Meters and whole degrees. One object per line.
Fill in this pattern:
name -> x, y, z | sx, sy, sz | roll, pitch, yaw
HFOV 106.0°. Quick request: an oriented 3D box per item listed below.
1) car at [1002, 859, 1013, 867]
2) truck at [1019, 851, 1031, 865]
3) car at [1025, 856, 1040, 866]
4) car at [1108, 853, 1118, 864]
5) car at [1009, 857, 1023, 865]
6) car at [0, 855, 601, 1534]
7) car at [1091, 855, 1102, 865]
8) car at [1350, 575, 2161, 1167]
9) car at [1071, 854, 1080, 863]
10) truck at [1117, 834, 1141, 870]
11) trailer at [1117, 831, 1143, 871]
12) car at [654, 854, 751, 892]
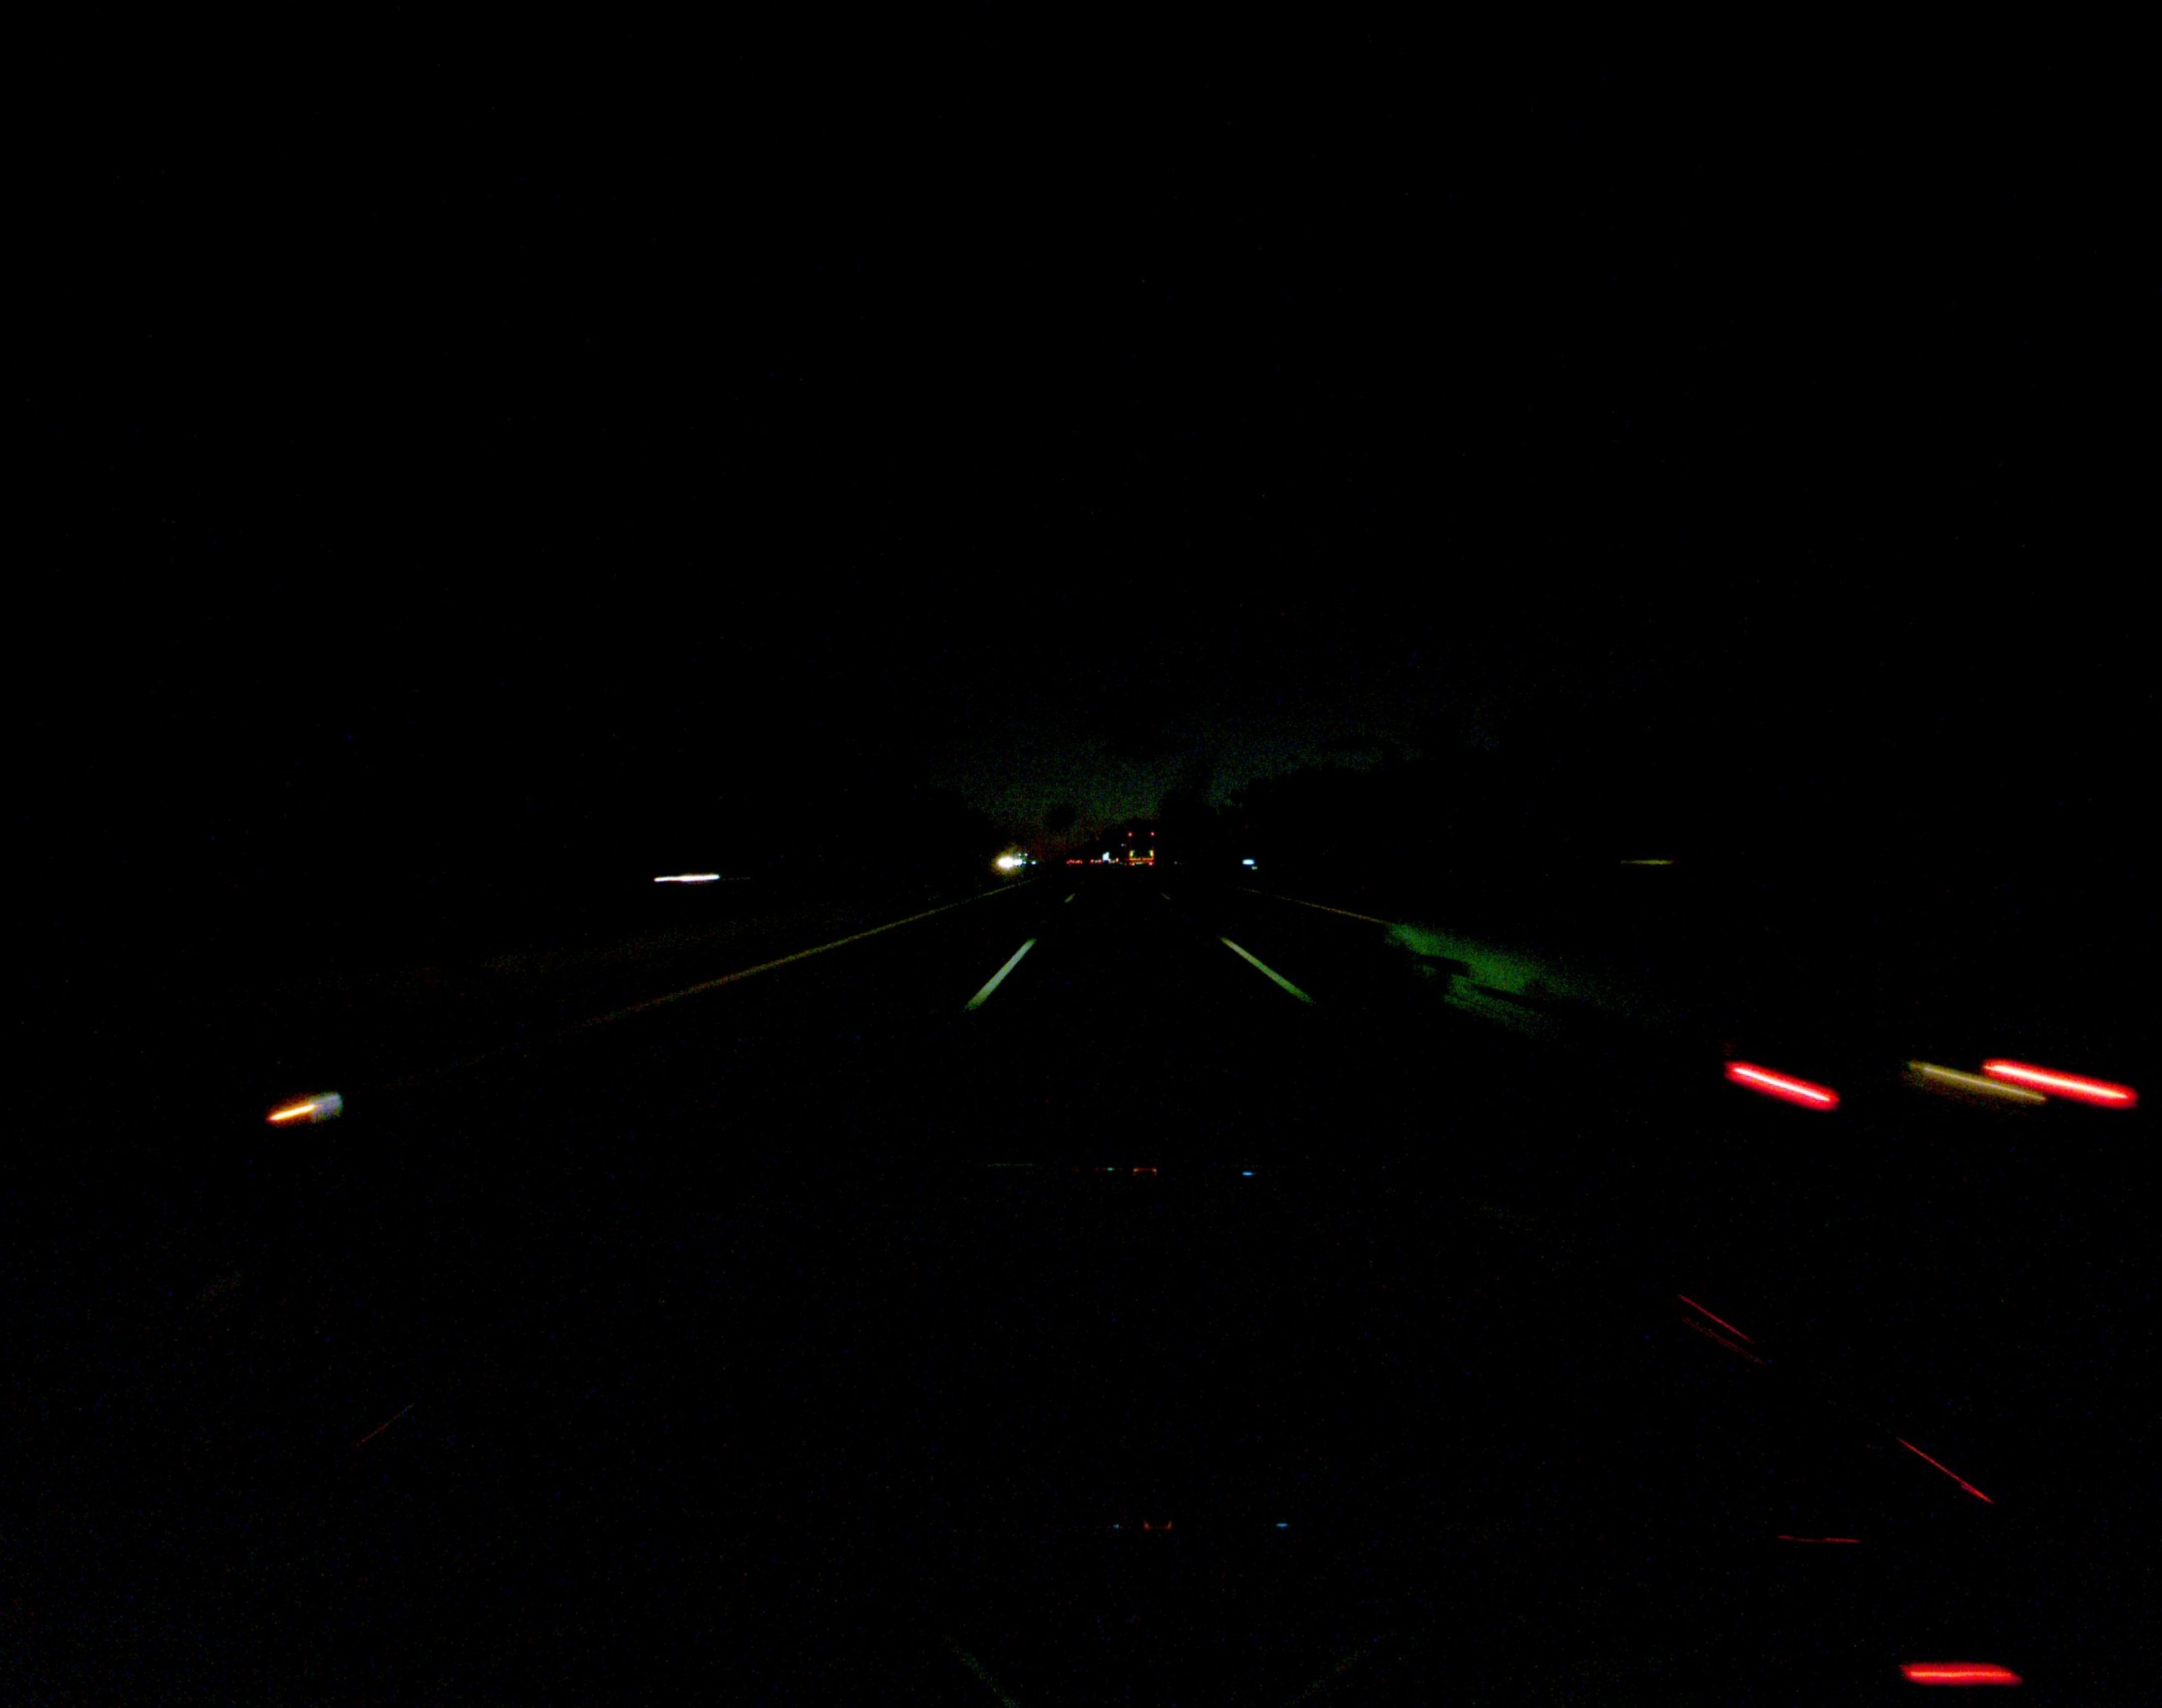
car -> -15.883, 1.918, 176.770 | 1.907, 1.746, 4.881 | -1, 0, 1
truck -> -17.152, 1.160, 249.255 | 2.851, 4.071, 10.632 | -1, 0, 0
car -> -8.393, 1.174, 142.041 | 2.236, 1.719, 4.888 | -1, 0, 1
car -> 6.494, 0.993, 166.807 | 1.987, 2.117, 3.999 | -1, -2, 0
car -> -12.608, 1.309, 157.782 | 2.237, 1.597, 4.886 | -1, 0, 0
car -> -3.505, 0.817, 1.224 | 1.985, 1.518, 5.655 | 0, 1, 3
car -> 2.945, 1.128, 151.551 | 1.987, 1.794, 4.000 | -1, -2, 1
car -> 3.988, 0.091, 6.536 | 2.024, 2.647, 5.729 | -1, 0, 3
car -> -1.240, 0.970, 178.849 | 1.987, 1.794, 3.998 | -1, -2, -1
truck -> 5.900, -0.244, 101.512 | 2.818, 4.256, 6.266 | -1, -1, 2
trailer -> 5.659, -0.281, 96.139 | 2.818, 4.256, 17.059 | -1, 0, 3
car -> -17.898, 0.841, 38.835 | 2.236, 1.668, 4.888 | -1, 0, 1
